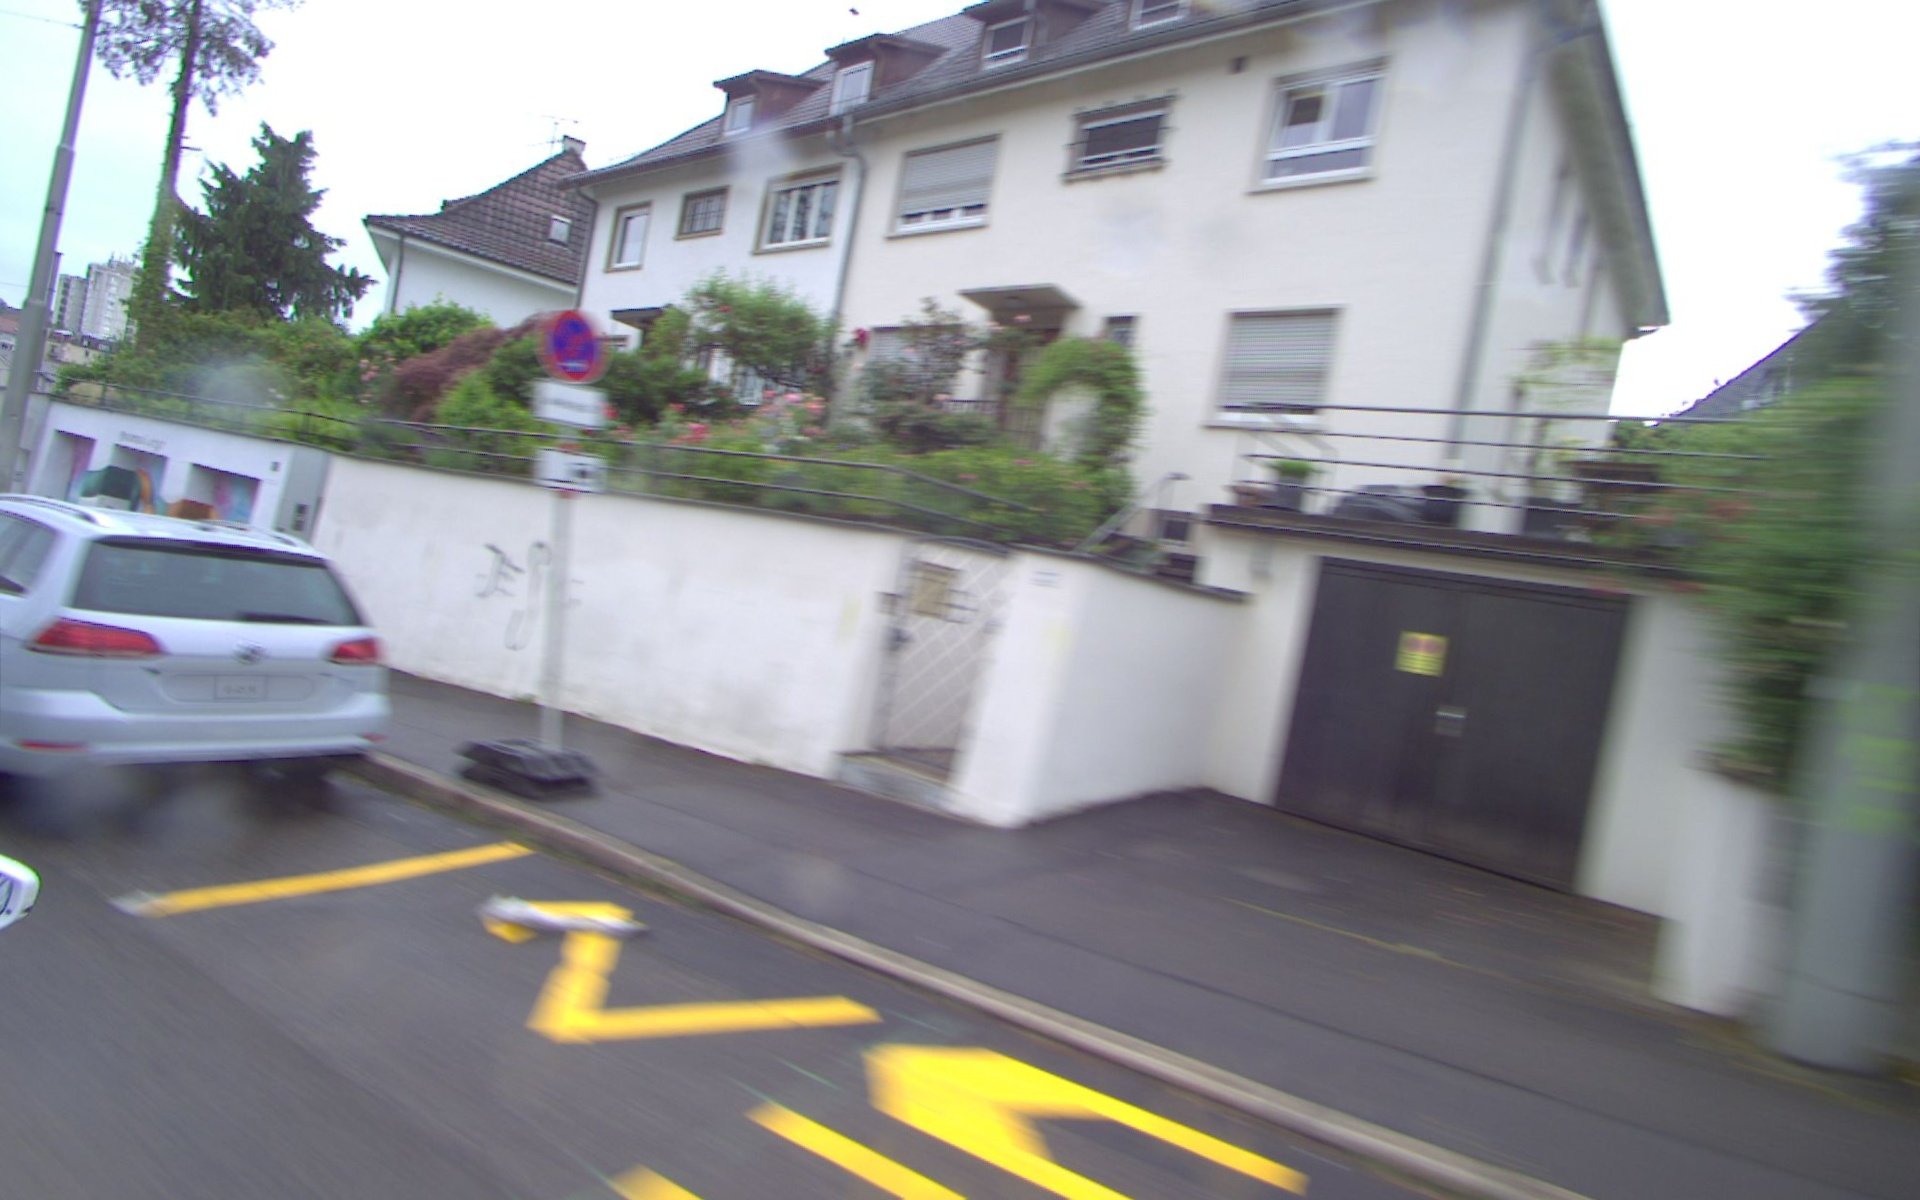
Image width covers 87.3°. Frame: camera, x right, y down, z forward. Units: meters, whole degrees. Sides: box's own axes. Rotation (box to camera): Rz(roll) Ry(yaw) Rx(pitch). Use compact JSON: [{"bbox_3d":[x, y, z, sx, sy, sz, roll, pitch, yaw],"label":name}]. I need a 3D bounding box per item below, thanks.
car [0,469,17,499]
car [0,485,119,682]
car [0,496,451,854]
[{"bbox_3d":[-58.728,-7.269,59.485,1.907,1.647,4.669,12,-3,-12],"label":"car"},{"bbox_3d":[-9.315,-0.363,8.721,3.932,1.531,1.718,7,-1,29],"label":"car"},{"bbox_3d":[-5.195,0.177,5.999,4.357,1.437,1.784,7,-1,33],"label":"car"}]
